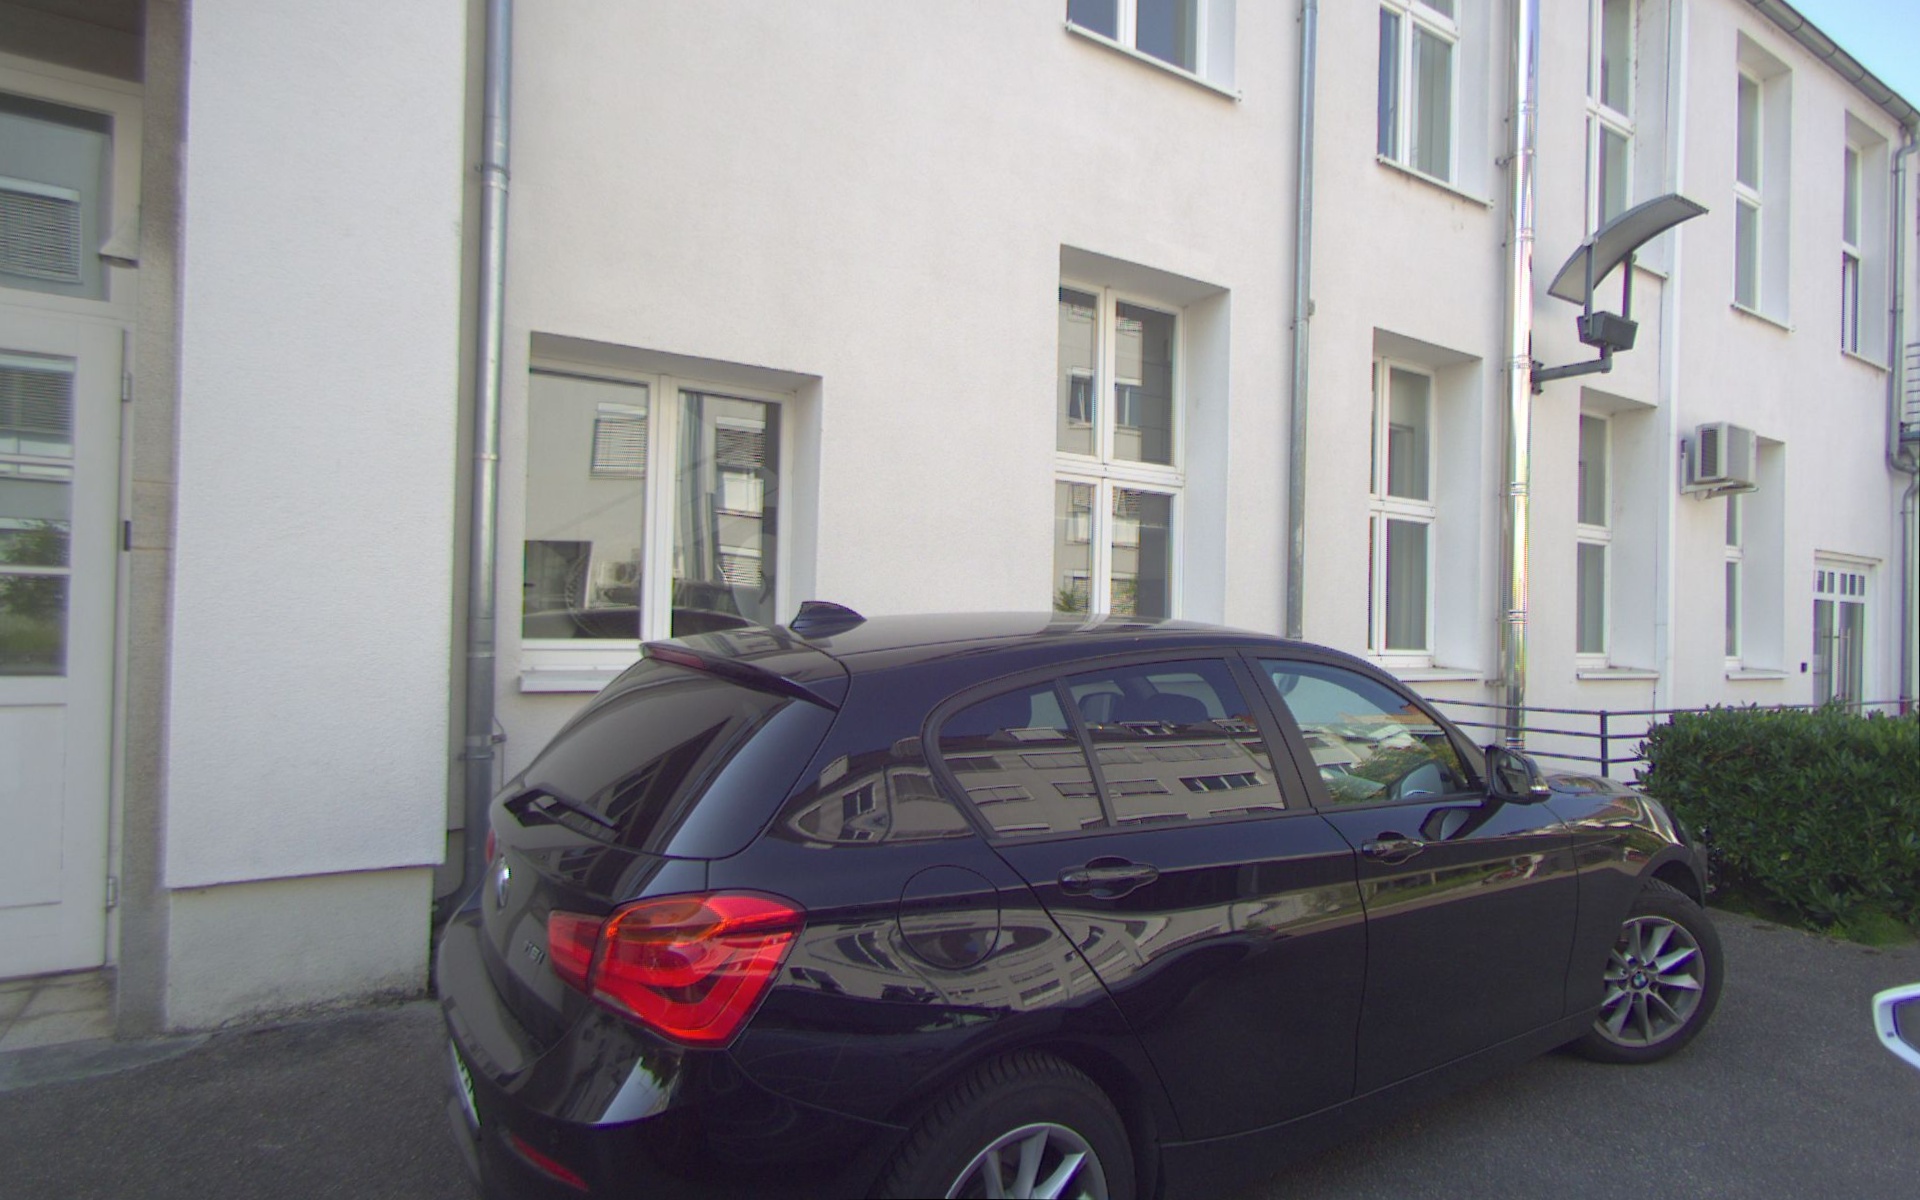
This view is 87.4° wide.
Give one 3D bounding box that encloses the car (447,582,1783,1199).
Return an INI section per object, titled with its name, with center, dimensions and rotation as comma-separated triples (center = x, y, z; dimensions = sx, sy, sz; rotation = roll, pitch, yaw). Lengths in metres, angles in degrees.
[car]
center = 0.763, 0.747, 3.206
dimensions = 4.093, 1.447, 1.782
rotation = 2, 0, -34
